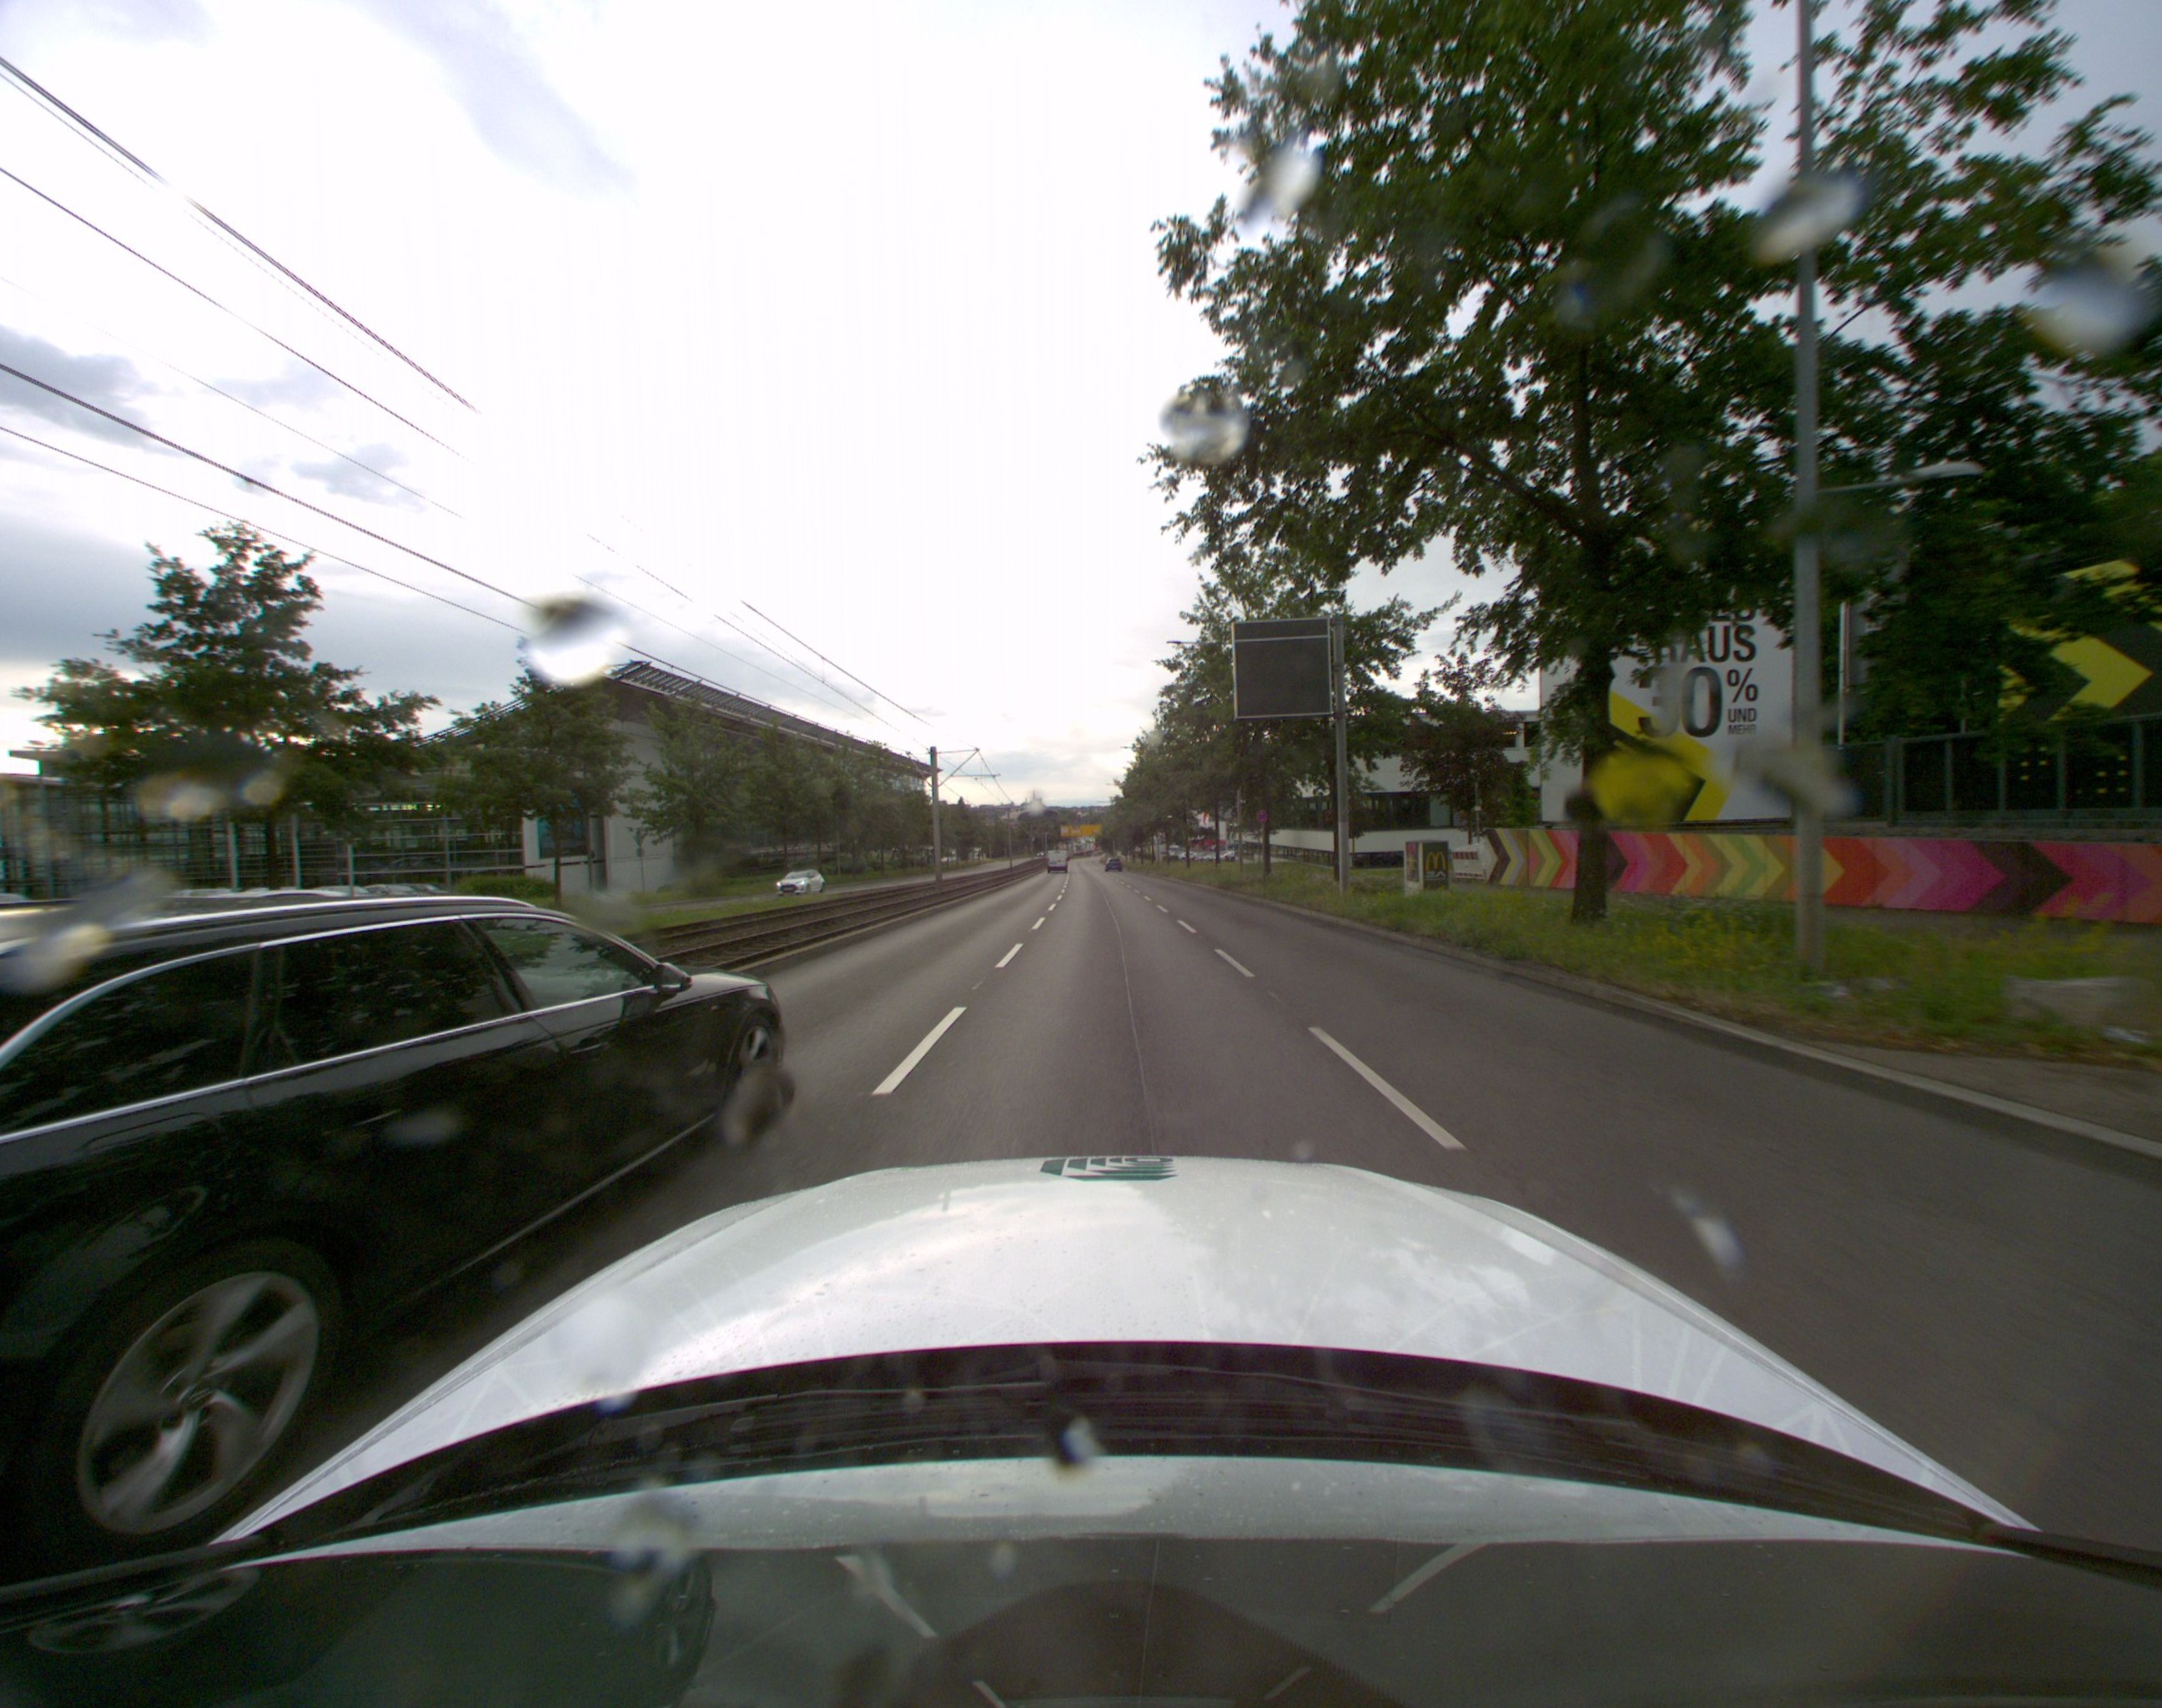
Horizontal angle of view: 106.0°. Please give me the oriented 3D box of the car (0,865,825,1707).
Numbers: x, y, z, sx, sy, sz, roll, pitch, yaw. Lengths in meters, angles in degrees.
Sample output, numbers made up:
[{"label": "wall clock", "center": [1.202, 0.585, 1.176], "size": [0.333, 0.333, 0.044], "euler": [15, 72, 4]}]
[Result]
[{"label": "car", "center": [-2.756, 0.827, 3.211], "size": [1.783, 1.434, 4.831], "euler": [-1, 0, 2]}]

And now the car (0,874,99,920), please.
[{"label": "car", "center": [-43.661, 1.752, 33.622], "size": [4.055, 1.836, 1.864], "euler": [0, 0, 3]}]

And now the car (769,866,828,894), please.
[{"label": "car", "center": [-16.454, 1.464, 47.716], "size": [1.874, 1.447, 4.139], "euler": [-2, 0, 1]}]

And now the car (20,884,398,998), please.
[{"label": "car", "center": [-15.094, 1.405, 14.570], "size": [1.830, 1.444, 4.430], "euler": [-3, 0, 2]}]

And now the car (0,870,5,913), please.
[{"label": "car", "center": [-48.370, 1.613, 34.170], "size": [4.055, 1.836, 1.864], "euler": [0, 0, 3]}]

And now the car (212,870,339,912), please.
[{"label": "car", "center": [-36.928, 1.689, 37.410], "size": [4.055, 1.836, 1.864], "euler": [0, 0, 3]}]

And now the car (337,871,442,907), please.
[{"label": "car", "center": [-36.655, 1.826, 43.241], "size": [4.055, 1.836, 1.864], "euler": [0, 0, 3]}]

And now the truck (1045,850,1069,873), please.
[{"label": "truck", "center": [-2.452, 0.741, 83.924], "size": [2.353, 2.262, 5.303], "euler": [0, 0, -1]}]

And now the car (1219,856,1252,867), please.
[{"label": "car", "center": [19.490, 0.959, 102.760], "size": [3.969, 1.354, 2.002], "euler": [0, 0, 4]}]

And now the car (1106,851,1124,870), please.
[{"label": "car", "center": [3.687, 0.730, 89.107], "size": [1.986, 2.014, 3.935], "euler": [0, 0, 1]}]
